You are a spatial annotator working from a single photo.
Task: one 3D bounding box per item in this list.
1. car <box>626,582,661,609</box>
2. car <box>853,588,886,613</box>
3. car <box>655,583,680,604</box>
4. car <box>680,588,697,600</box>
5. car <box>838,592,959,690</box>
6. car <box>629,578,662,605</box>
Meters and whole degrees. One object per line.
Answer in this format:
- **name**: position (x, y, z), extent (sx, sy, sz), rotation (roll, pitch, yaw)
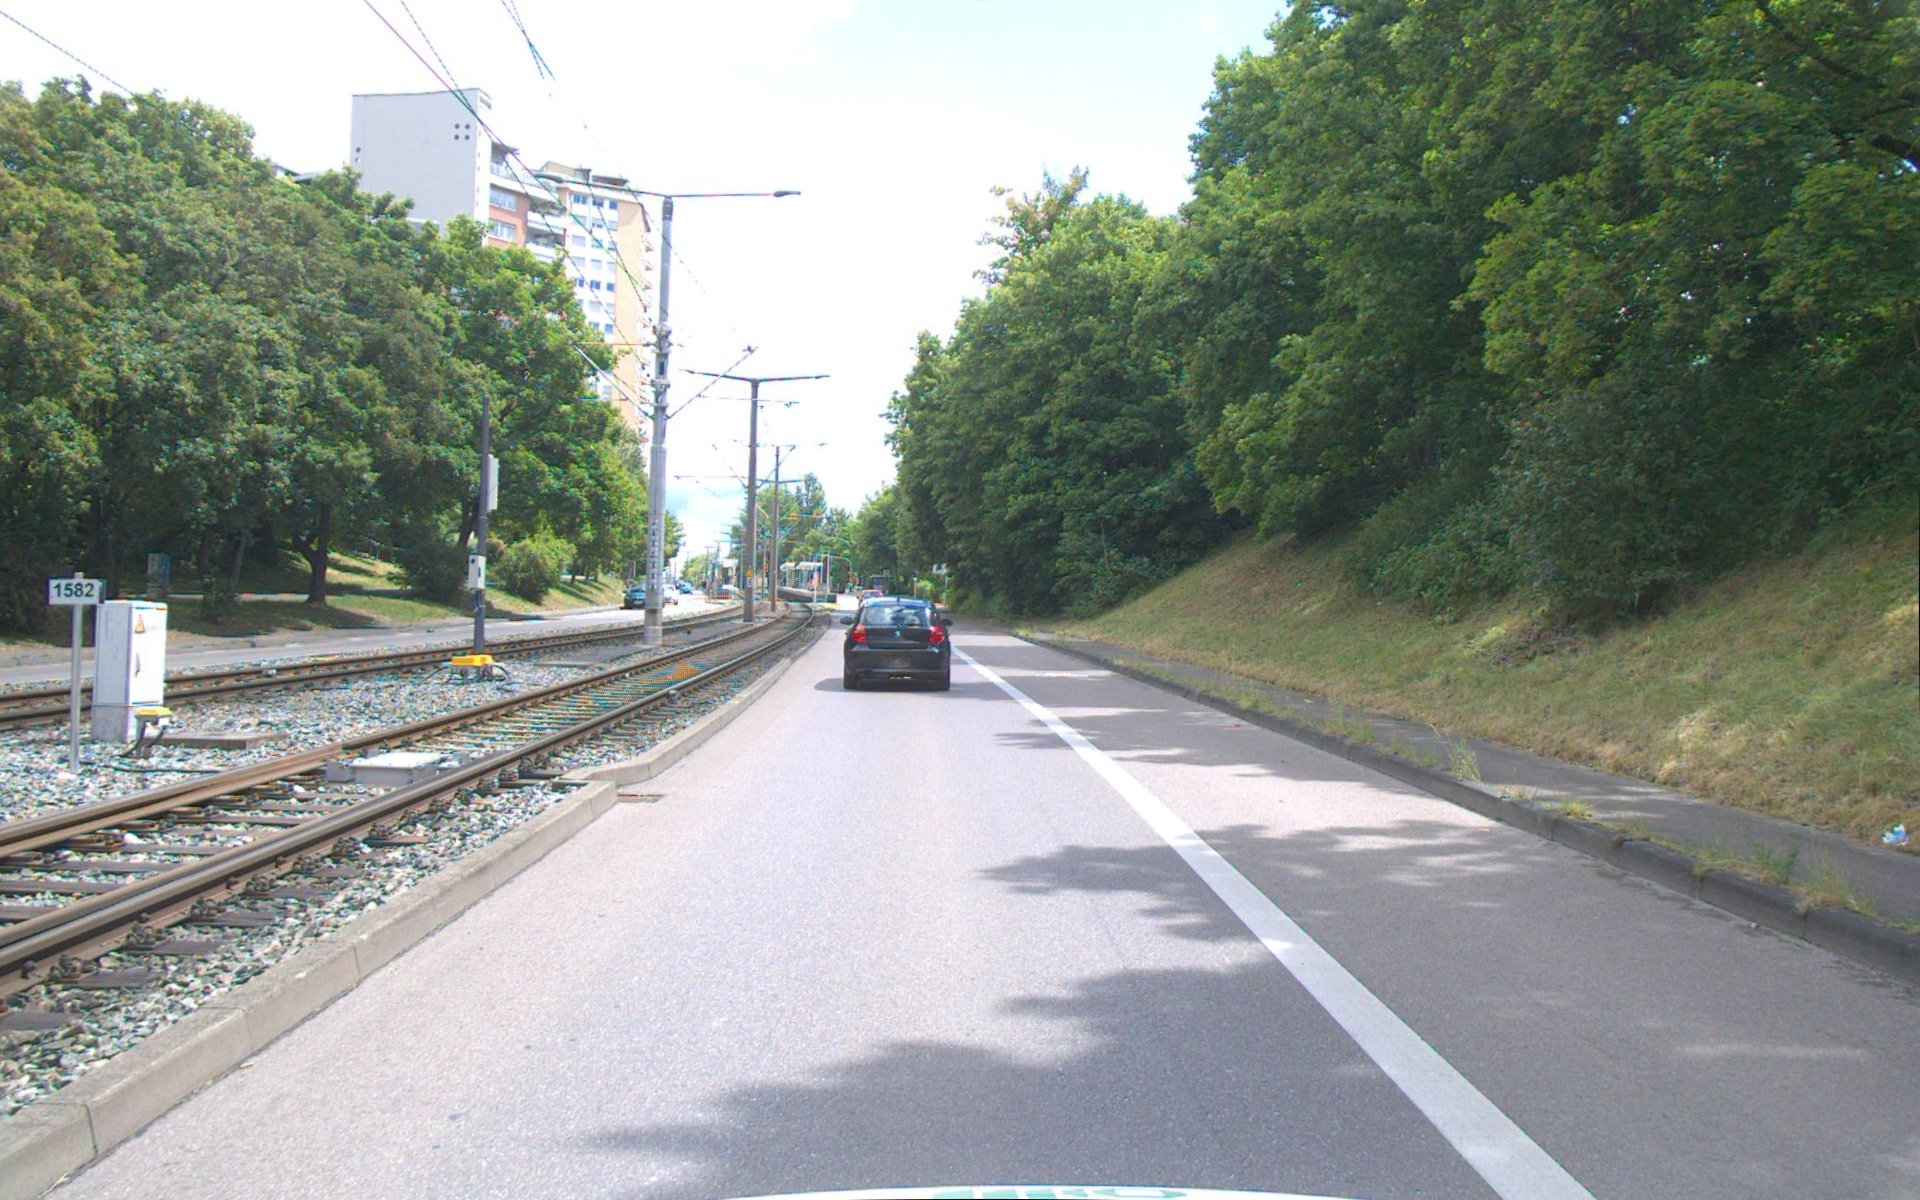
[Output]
- **car**: position (-19.100, -0.270, 99.869), extent (1.740, 1.524, 3.992), rotation (1, 0, -6)
- **car**: position (-5.494, 0.010, 99.962), extent (1.747, 1.485, 3.916), rotation (1, 0, -6)
- **car**: position (-21.815, -0.471, 123.508), extent (1.748, 1.559, 4.235), rotation (0, 0, -9)
- **car**: position (-34.831, -0.810, 212.151), extent (1.687, 1.467, 3.928), rotation (1, 0, -14)
- **car**: position (-1.081, 0.619, 27.166), extent (1.747, 1.485, 3.916), rotation (0, 0, -6)
- **car**: position (-20.286, -0.543, 106.717), extent (1.740, 1.658, 4.376), rotation (0, 0, -6)
